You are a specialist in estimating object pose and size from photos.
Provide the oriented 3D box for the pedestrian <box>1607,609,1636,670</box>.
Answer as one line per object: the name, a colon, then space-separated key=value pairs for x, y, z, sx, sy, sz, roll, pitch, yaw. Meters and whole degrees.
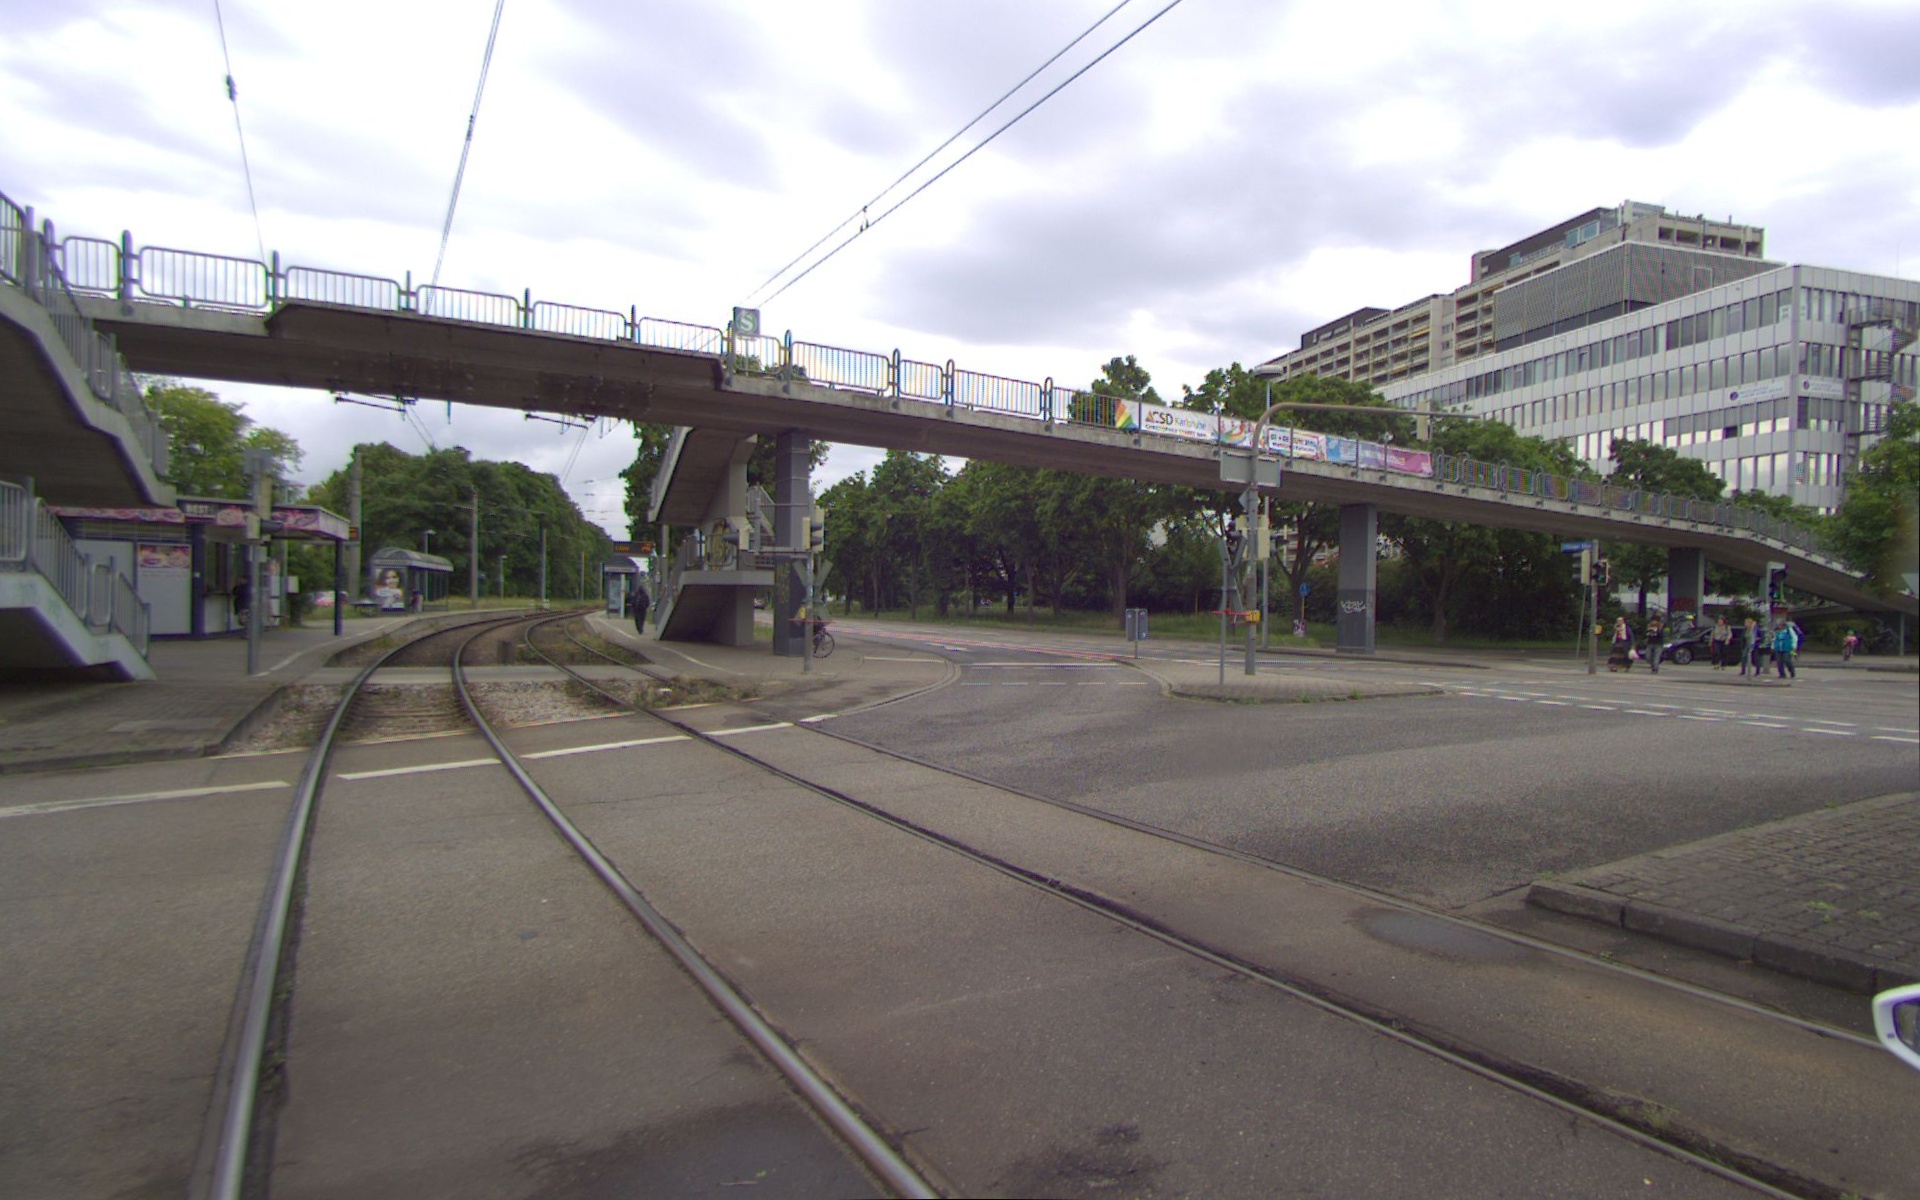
pedestrian: x=18.948 y=1.125 z=28.758 sx=0.612 sy=1.714 sz=0.403 roll=1 pitch=0 yaw=45

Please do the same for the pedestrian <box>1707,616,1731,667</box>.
pedestrian: x=24.346 y=1.317 z=32.206 sx=0.572 sy=1.600 sz=0.778 roll=1 pitch=0 yaw=40

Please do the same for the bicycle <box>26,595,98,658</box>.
bicycle: x=-17.425 y=0.468 z=19.474 sx=0.985 sy=1.129 sz=2.754 roll=0 pitch=0 yaw=-43

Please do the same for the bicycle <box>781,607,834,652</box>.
bicycle: x=-3.845 y=0.728 z=25.436 sx=0.345 sy=1.109 sz=1.612 roll=1 pitch=0 yaw=32

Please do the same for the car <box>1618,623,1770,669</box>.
car: x=27.276 y=1.687 z=37.413 sx=4.309 sy=1.528 sz=1.673 roll=1 pitch=0 yaw=5

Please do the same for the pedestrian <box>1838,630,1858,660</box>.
pedestrian: x=38.732 y=1.956 z=43.818 sx=0.453 sy=1.287 sz=0.497 roll=1 pitch=0 yaw=-29

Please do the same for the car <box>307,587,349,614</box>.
car: x=-42.332 y=0.024 z=67.318 sx=1.615 sy=1.709 sz=3.980 roll=1 pitch=0 yaw=-21

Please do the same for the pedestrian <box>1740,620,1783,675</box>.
pedestrian: x=23.231 y=1.368 z=29.106 sx=0.401 sy=1.531 sz=0.909 roll=1 pitch=0 yaw=-42

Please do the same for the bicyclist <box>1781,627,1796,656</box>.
bicyclist: x=34.682 y=1.724 z=42.045 sx=0.373 sy=1.197 sz=0.403 roll=0 pitch=1 yaw=-30

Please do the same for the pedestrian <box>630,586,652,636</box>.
pedestrian: x=-10.789 y=0.359 z=33.999 sx=0.594 sy=1.664 sz=0.659 roll=1 pitch=0 yaw=-27

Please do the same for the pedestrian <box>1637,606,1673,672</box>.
pedestrian: x=19.529 y=1.077 z=28.219 sx=0.796 sy=1.828 sz=0.631 roll=1 pitch=0 yaw=-41

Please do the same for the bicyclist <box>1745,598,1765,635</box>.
bicyclist: x=36.110 y=0.751 z=45.623 sx=0.525 sy=1.666 sz=0.562 roll=1 pitch=0 yaw=-31

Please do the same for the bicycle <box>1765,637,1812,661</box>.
bicycle: x=34.947 y=2.080 z=42.362 sx=1.927 sy=0.961 sz=0.760 roll=1 pitch=0 yaw=-26

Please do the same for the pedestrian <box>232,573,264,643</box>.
pedestrian: x=-17.464 y=0.187 z=24.644 sx=0.535 sy=1.687 sz=0.682 roll=0 pitch=1 yaw=-26

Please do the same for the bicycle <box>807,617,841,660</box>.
bicycle: x=-3.229 y=0.878 z=23.673 sx=0.368 sy=0.934 sz=2.028 roll=1 pitch=0 yaw=-20

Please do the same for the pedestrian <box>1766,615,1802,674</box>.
pedestrian: x=23.330 y=1.243 z=28.433 sx=0.483 sy=1.626 sz=0.682 roll=1 pitch=0 yaw=-36

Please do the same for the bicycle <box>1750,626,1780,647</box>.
bicycle: x=36.678 y=1.655 z=45.779 sx=1.689 sy=0.961 sz=0.523 roll=1 pitch=0 yaw=-31
